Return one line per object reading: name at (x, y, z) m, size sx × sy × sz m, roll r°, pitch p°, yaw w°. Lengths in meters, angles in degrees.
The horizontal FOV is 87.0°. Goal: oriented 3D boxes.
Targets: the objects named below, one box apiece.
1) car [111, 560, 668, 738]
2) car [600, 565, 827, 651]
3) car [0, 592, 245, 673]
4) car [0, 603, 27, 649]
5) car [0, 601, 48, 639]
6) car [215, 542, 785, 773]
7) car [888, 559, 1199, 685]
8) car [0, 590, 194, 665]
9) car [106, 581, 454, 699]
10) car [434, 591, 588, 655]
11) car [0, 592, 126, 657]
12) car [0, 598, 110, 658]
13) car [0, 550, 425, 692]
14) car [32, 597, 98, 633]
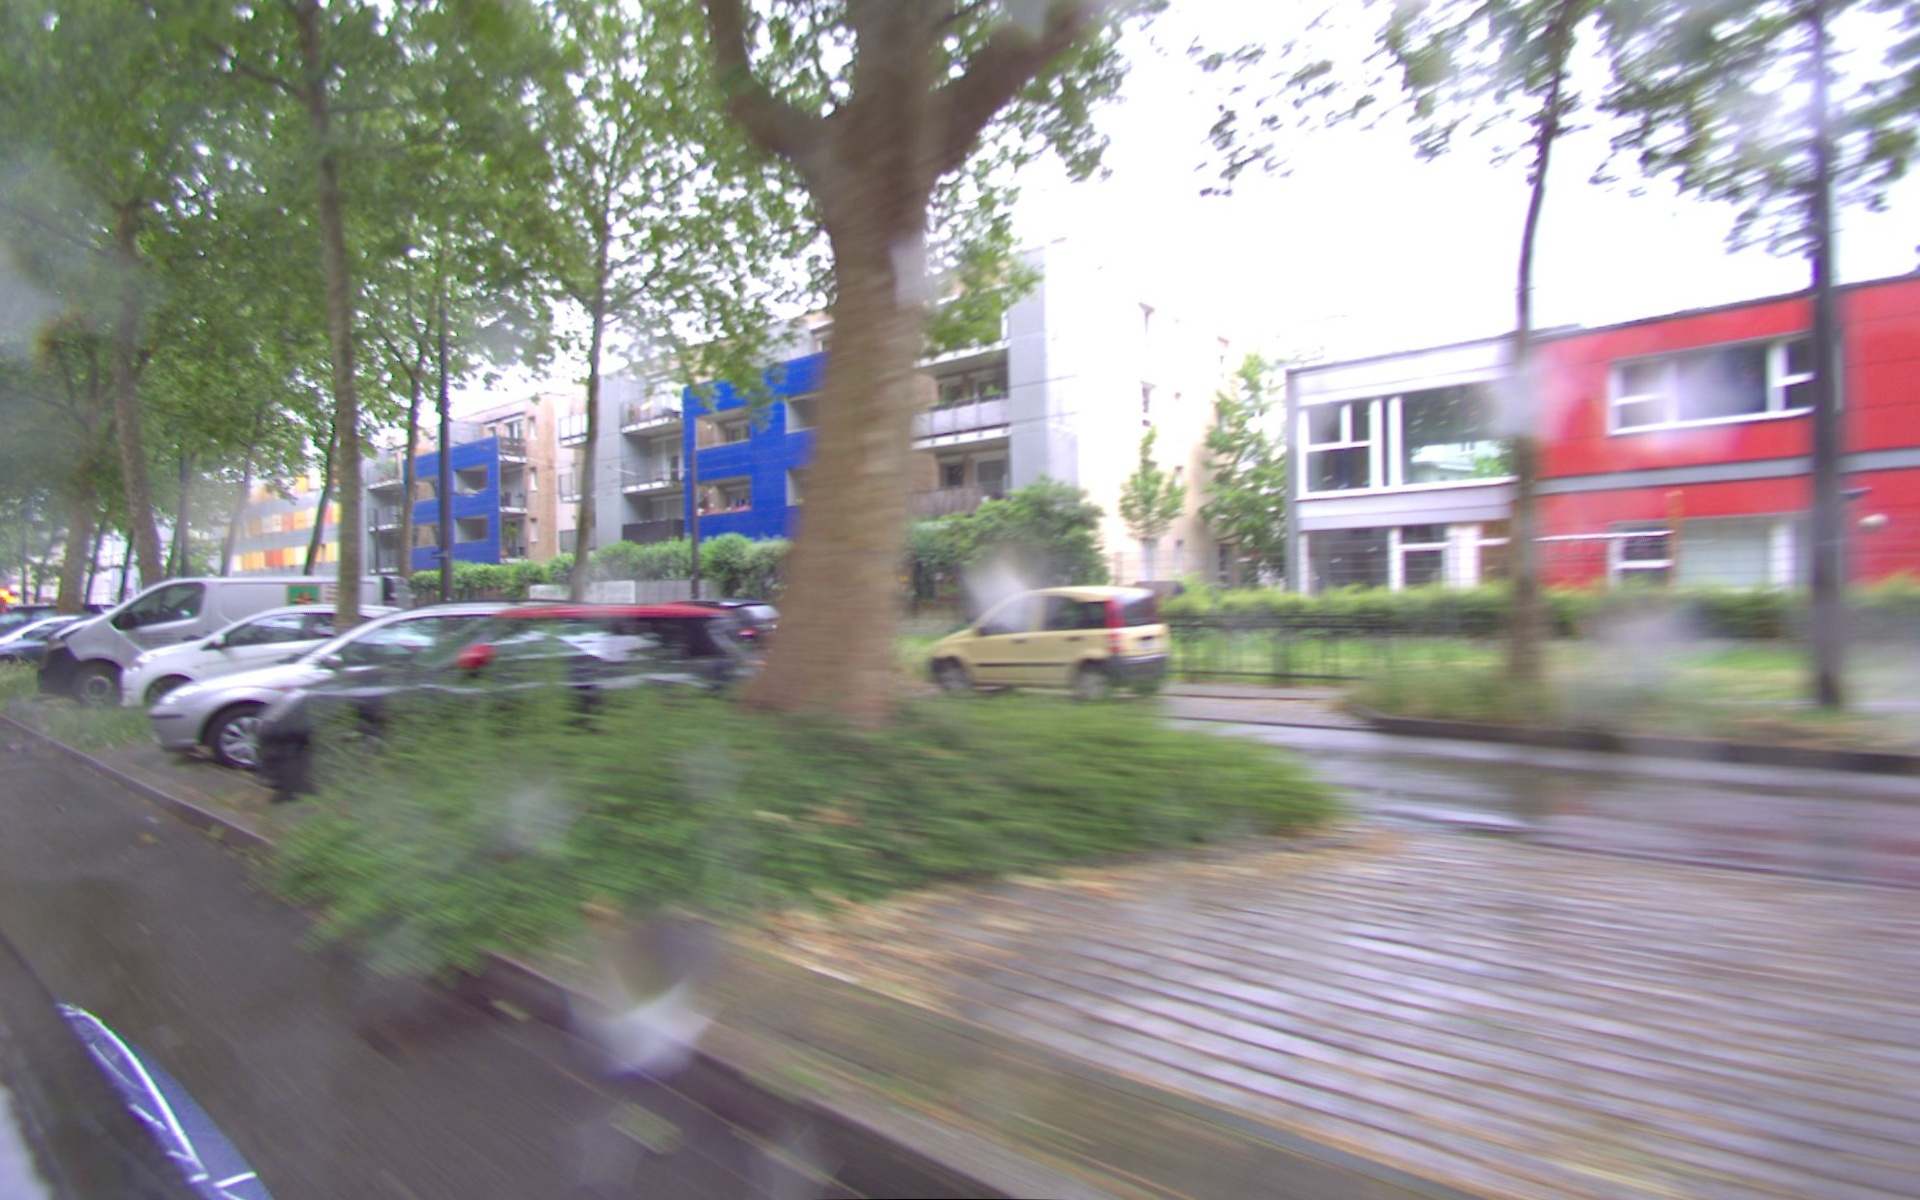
car at (-5.305, 0.451, 10.089) m, size 4.482 × 1.493 × 1.780 m, roll 0°, pitch -2°, yaw -19°
car at (-4.752, 0.207, 19.232) m, size 4.265 × 1.431 × 1.975 m, roll -3°, pitch -2°, yaw 38°
car at (-17.071, 0.638, 20.228) m, size 4.241 × 1.448 × 1.753 m, roll -2°, pitch -1°, yaw -23°
car at (-33.648, 0.926, 33.176) m, size 4.157 × 1.491 × 1.749 m, roll -2°, pitch -1°, yaw -22°
car at (-53.241, 1.137, 56.922) m, size 5.151 × 2.015 × 2.019 m, roll -2°, pitch -1°, yaw 38°
car at (-3.427, 0.417, 8.135) m, size 3.752 × 1.532 × 1.728 m, roll 0°, pitch -2°, yaw -18°
car at (1.092, 0.305, 14.289) m, size 3.998 × 1.519 × 1.973 m, roll -1°, pitch -1°, yaw 41°
car at (-19.438, 0.606, 22.142) m, size 3.999 × 1.510 × 1.753 m, roll -2°, pitch -1°, yaw -26°
car at (-9.313, 0.541, 14.232) m, size 3.721 × 1.493 × 1.728 m, roll 0°, pitch -2°, yaw -18°
car at (-11.059, 0.556, 24.812) m, size 3.991 × 1.431 × 1.973 m, roll -2°, pitch 0°, yaw 42°
car at (-25.480, 0.675, 27.208) m, size 4.341 × 1.673 × 1.936 m, roll 0°, pitch -2°, yaw -22°
car at (-27.593, 0.805, 29.140) m, size 4.342 × 1.658 × 1.877 m, roll 1°, pitch -2°, yaw -18°
car at (-11.468, 0.337, 16.001) m, size 5.043 × 1.992 × 2.109 m, roll 0°, pitch -2°, yaw -19°
car at (-55.865, 0.966, 63.141) m, size 5.425 × 2.012 × 2.035 m, roll -2°, pitch 0°, yaw 37°
